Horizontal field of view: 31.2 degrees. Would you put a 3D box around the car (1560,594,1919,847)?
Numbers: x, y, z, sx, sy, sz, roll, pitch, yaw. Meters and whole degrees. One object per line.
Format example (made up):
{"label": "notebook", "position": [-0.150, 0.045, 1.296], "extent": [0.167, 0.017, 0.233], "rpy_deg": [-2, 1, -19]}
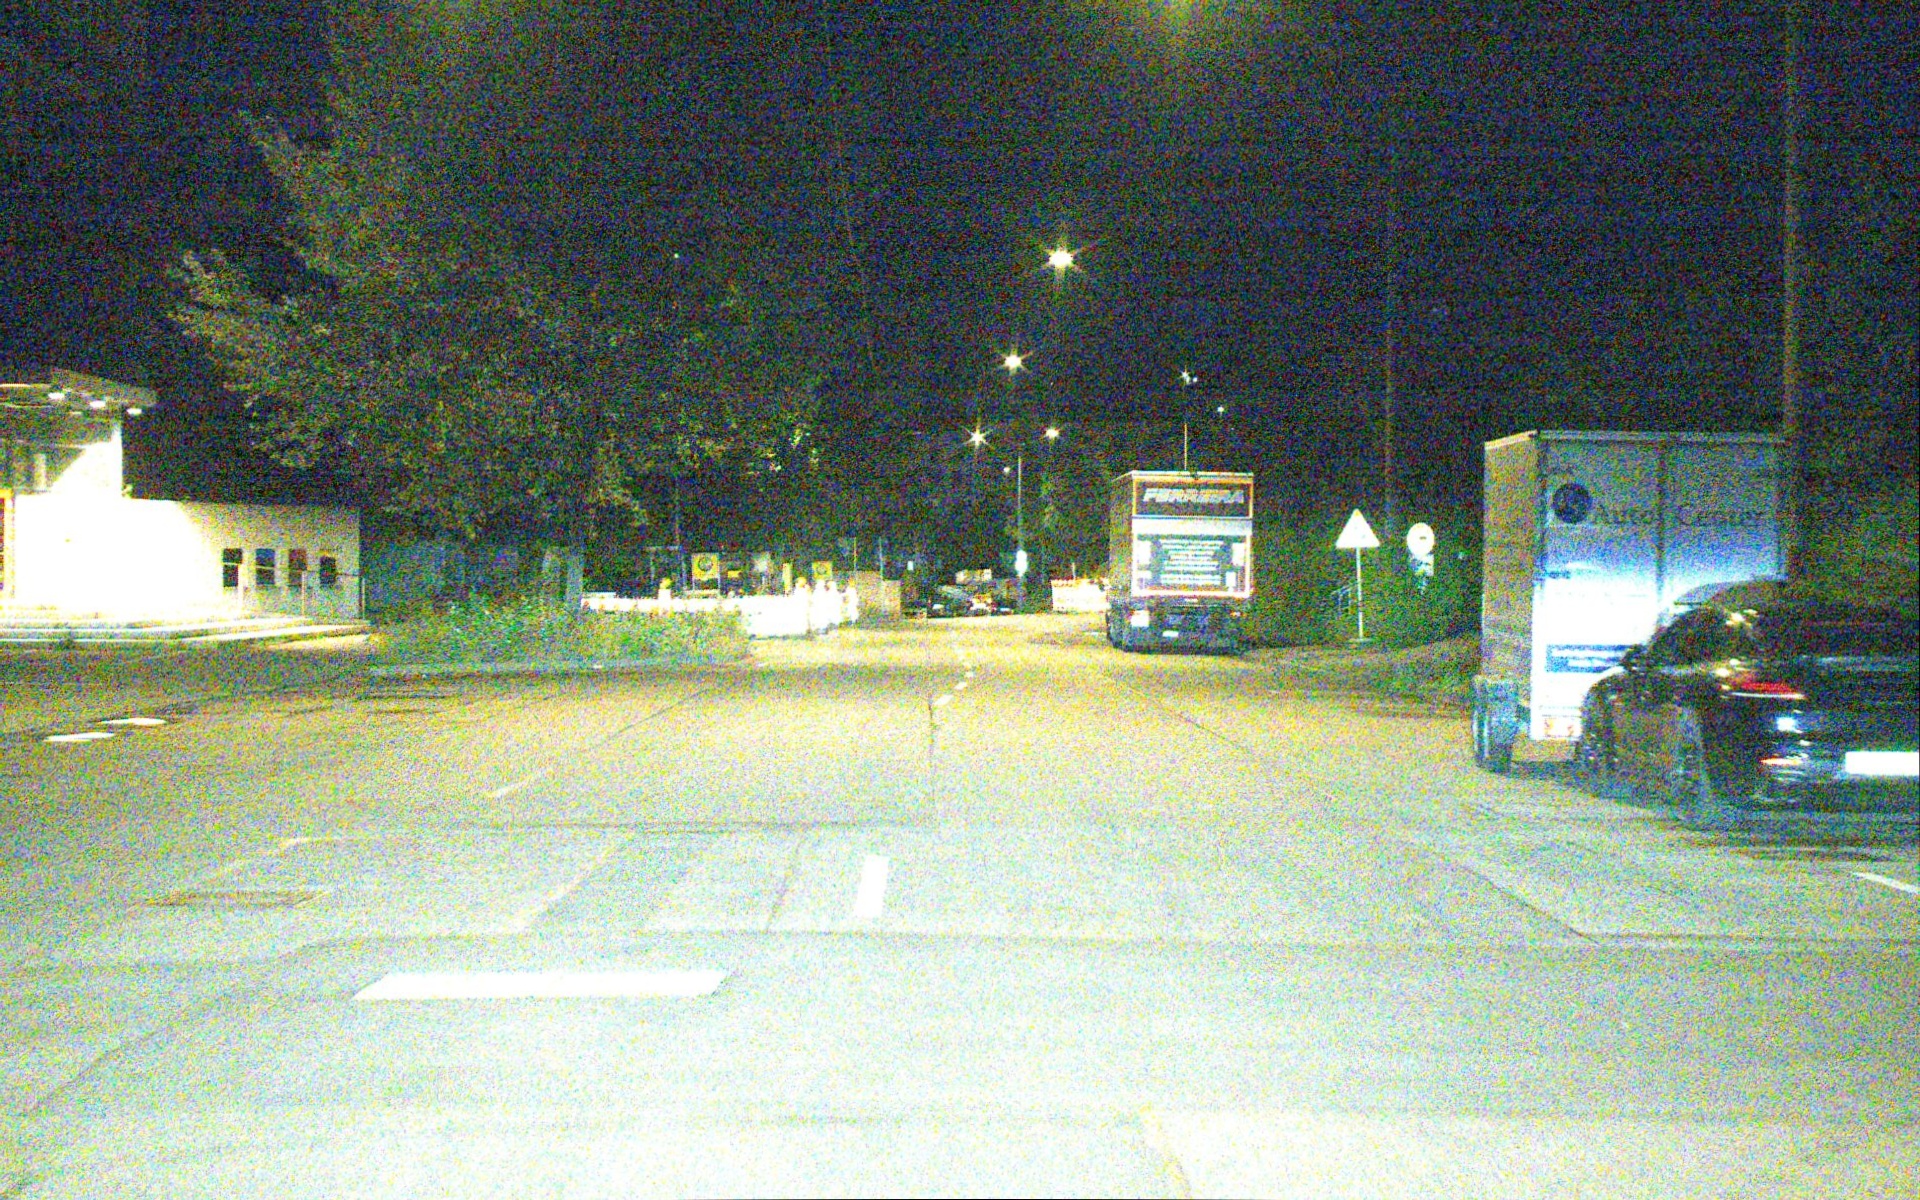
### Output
{"label": "car", "position": [5.233, 0.696, 22.172], "extent": [1.726, 1.382, 4.677], "rpy_deg": [1, 1, -2]}

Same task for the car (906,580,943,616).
{"label": "car", "position": [-1.730, -0.093, 168.774], "extent": [1.720, 1.655, 4.000], "rpy_deg": [1, -1, 0]}

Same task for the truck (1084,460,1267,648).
{"label": "truck", "position": [4.659, -0.976, 76.353], "extent": [3.324, 3.855, 9.328], "rpy_deg": [1, 0, -1]}

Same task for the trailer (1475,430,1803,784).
{"label": "trailer", "position": [5.433, 0.022, 28.006], "extent": [1.994, 2.642, 4.000], "rpy_deg": [1, 1, 2]}

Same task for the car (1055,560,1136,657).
{"label": "car", "position": [3.702, 0.186, 94.227], "extent": [2.109, 2.507, 6.371], "rpy_deg": [1, 1, 2]}

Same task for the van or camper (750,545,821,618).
{"label": "van or camper", "position": [-7.622, -0.790, 150.754], "extent": [2.519, 3.084, 7.445], "rpy_deg": [-2, 0, 1]}

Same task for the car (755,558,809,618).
{"label": "car", "position": [-9.065, -0.582, 175.710], "extent": [2.519, 2.917, 7.201], "rpy_deg": [-2, 0, -2]}

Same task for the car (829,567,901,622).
{"label": "car", "position": [-5.636, -0.351, 205.438], "extent": [2.520, 3.160, 7.133], "rpy_deg": [-2, 0, 13]}

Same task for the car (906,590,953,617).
{"label": "car", "position": [-1.961, 0.233, 221.305], "extent": [1.995, 1.694, 4.203], "rpy_deg": [0, -1, 15]}

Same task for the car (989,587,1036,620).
{"label": "car", "position": [3.030, 0.222, 197.289], "extent": [1.722, 1.815, 3.997], "rpy_deg": [1, -1, 15]}

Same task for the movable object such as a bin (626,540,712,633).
{"label": "movable object such as a bin", "position": [-7.914, -0.362, 93.431], "extent": [1.548, 2.459, 2.840], "rpy_deg": [-1, 0, -21]}

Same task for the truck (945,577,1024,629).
{"label": "truck", "position": [1.688, 0.158, 234.491], "extent": [1.996, 3.392, 8.968], "rpy_deg": [1, 1, 23]}

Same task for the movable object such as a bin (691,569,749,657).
{"label": "movable object such as a bin", "position": [-7.918, 0.404, 113.142], "extent": [1.570, 2.724, 3.702], "rpy_deg": [-3, 1, -7]}

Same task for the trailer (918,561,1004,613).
{"label": "trailer", "position": [0.008, -0.566, 153.892], "extent": [1.559, 2.153, 5.222], "rpy_deg": [-1, 0, -28]}
